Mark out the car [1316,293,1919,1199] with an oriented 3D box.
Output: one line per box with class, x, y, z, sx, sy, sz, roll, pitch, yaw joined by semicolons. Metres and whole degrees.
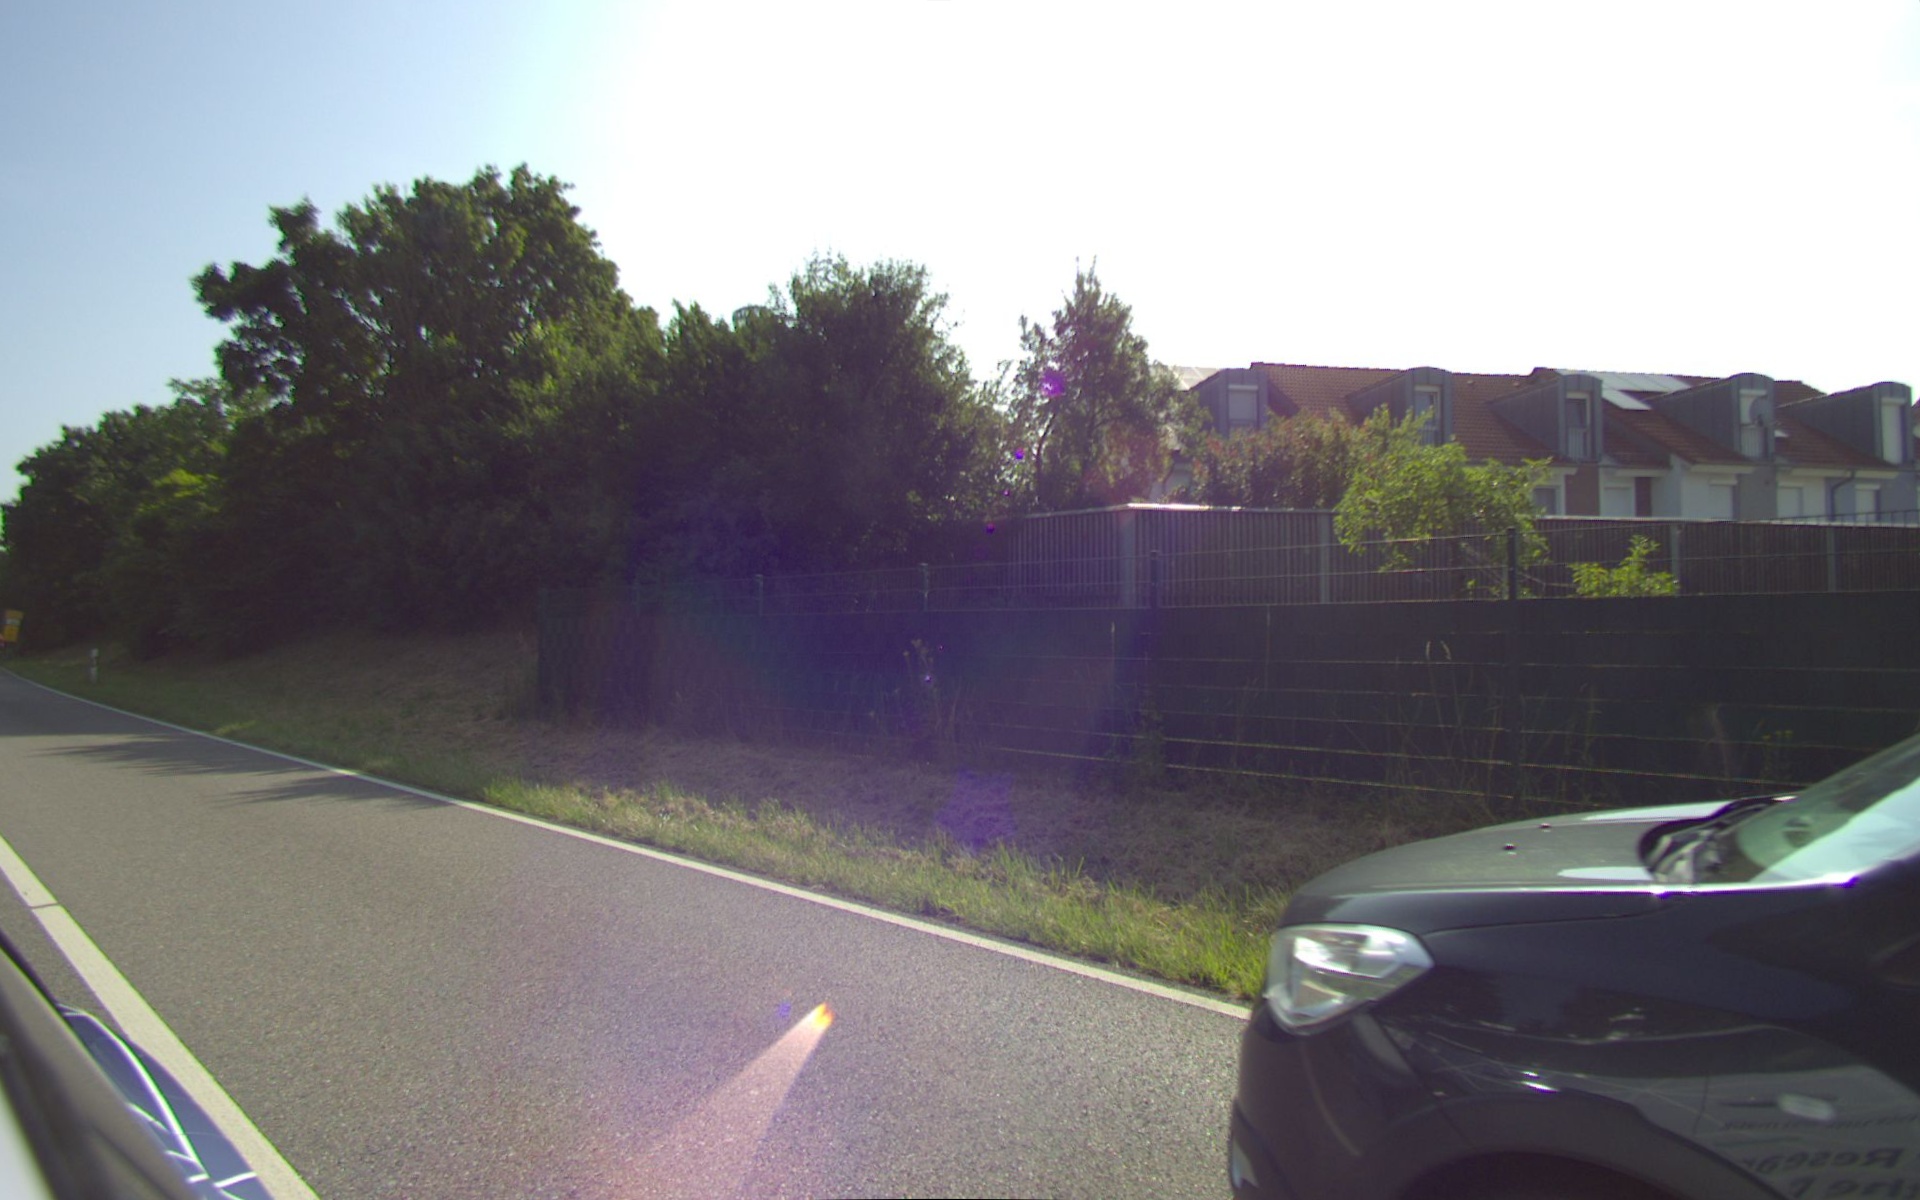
car;2.827;0.546;1.059;4.239;1.831;1.919;-2;-4;41
